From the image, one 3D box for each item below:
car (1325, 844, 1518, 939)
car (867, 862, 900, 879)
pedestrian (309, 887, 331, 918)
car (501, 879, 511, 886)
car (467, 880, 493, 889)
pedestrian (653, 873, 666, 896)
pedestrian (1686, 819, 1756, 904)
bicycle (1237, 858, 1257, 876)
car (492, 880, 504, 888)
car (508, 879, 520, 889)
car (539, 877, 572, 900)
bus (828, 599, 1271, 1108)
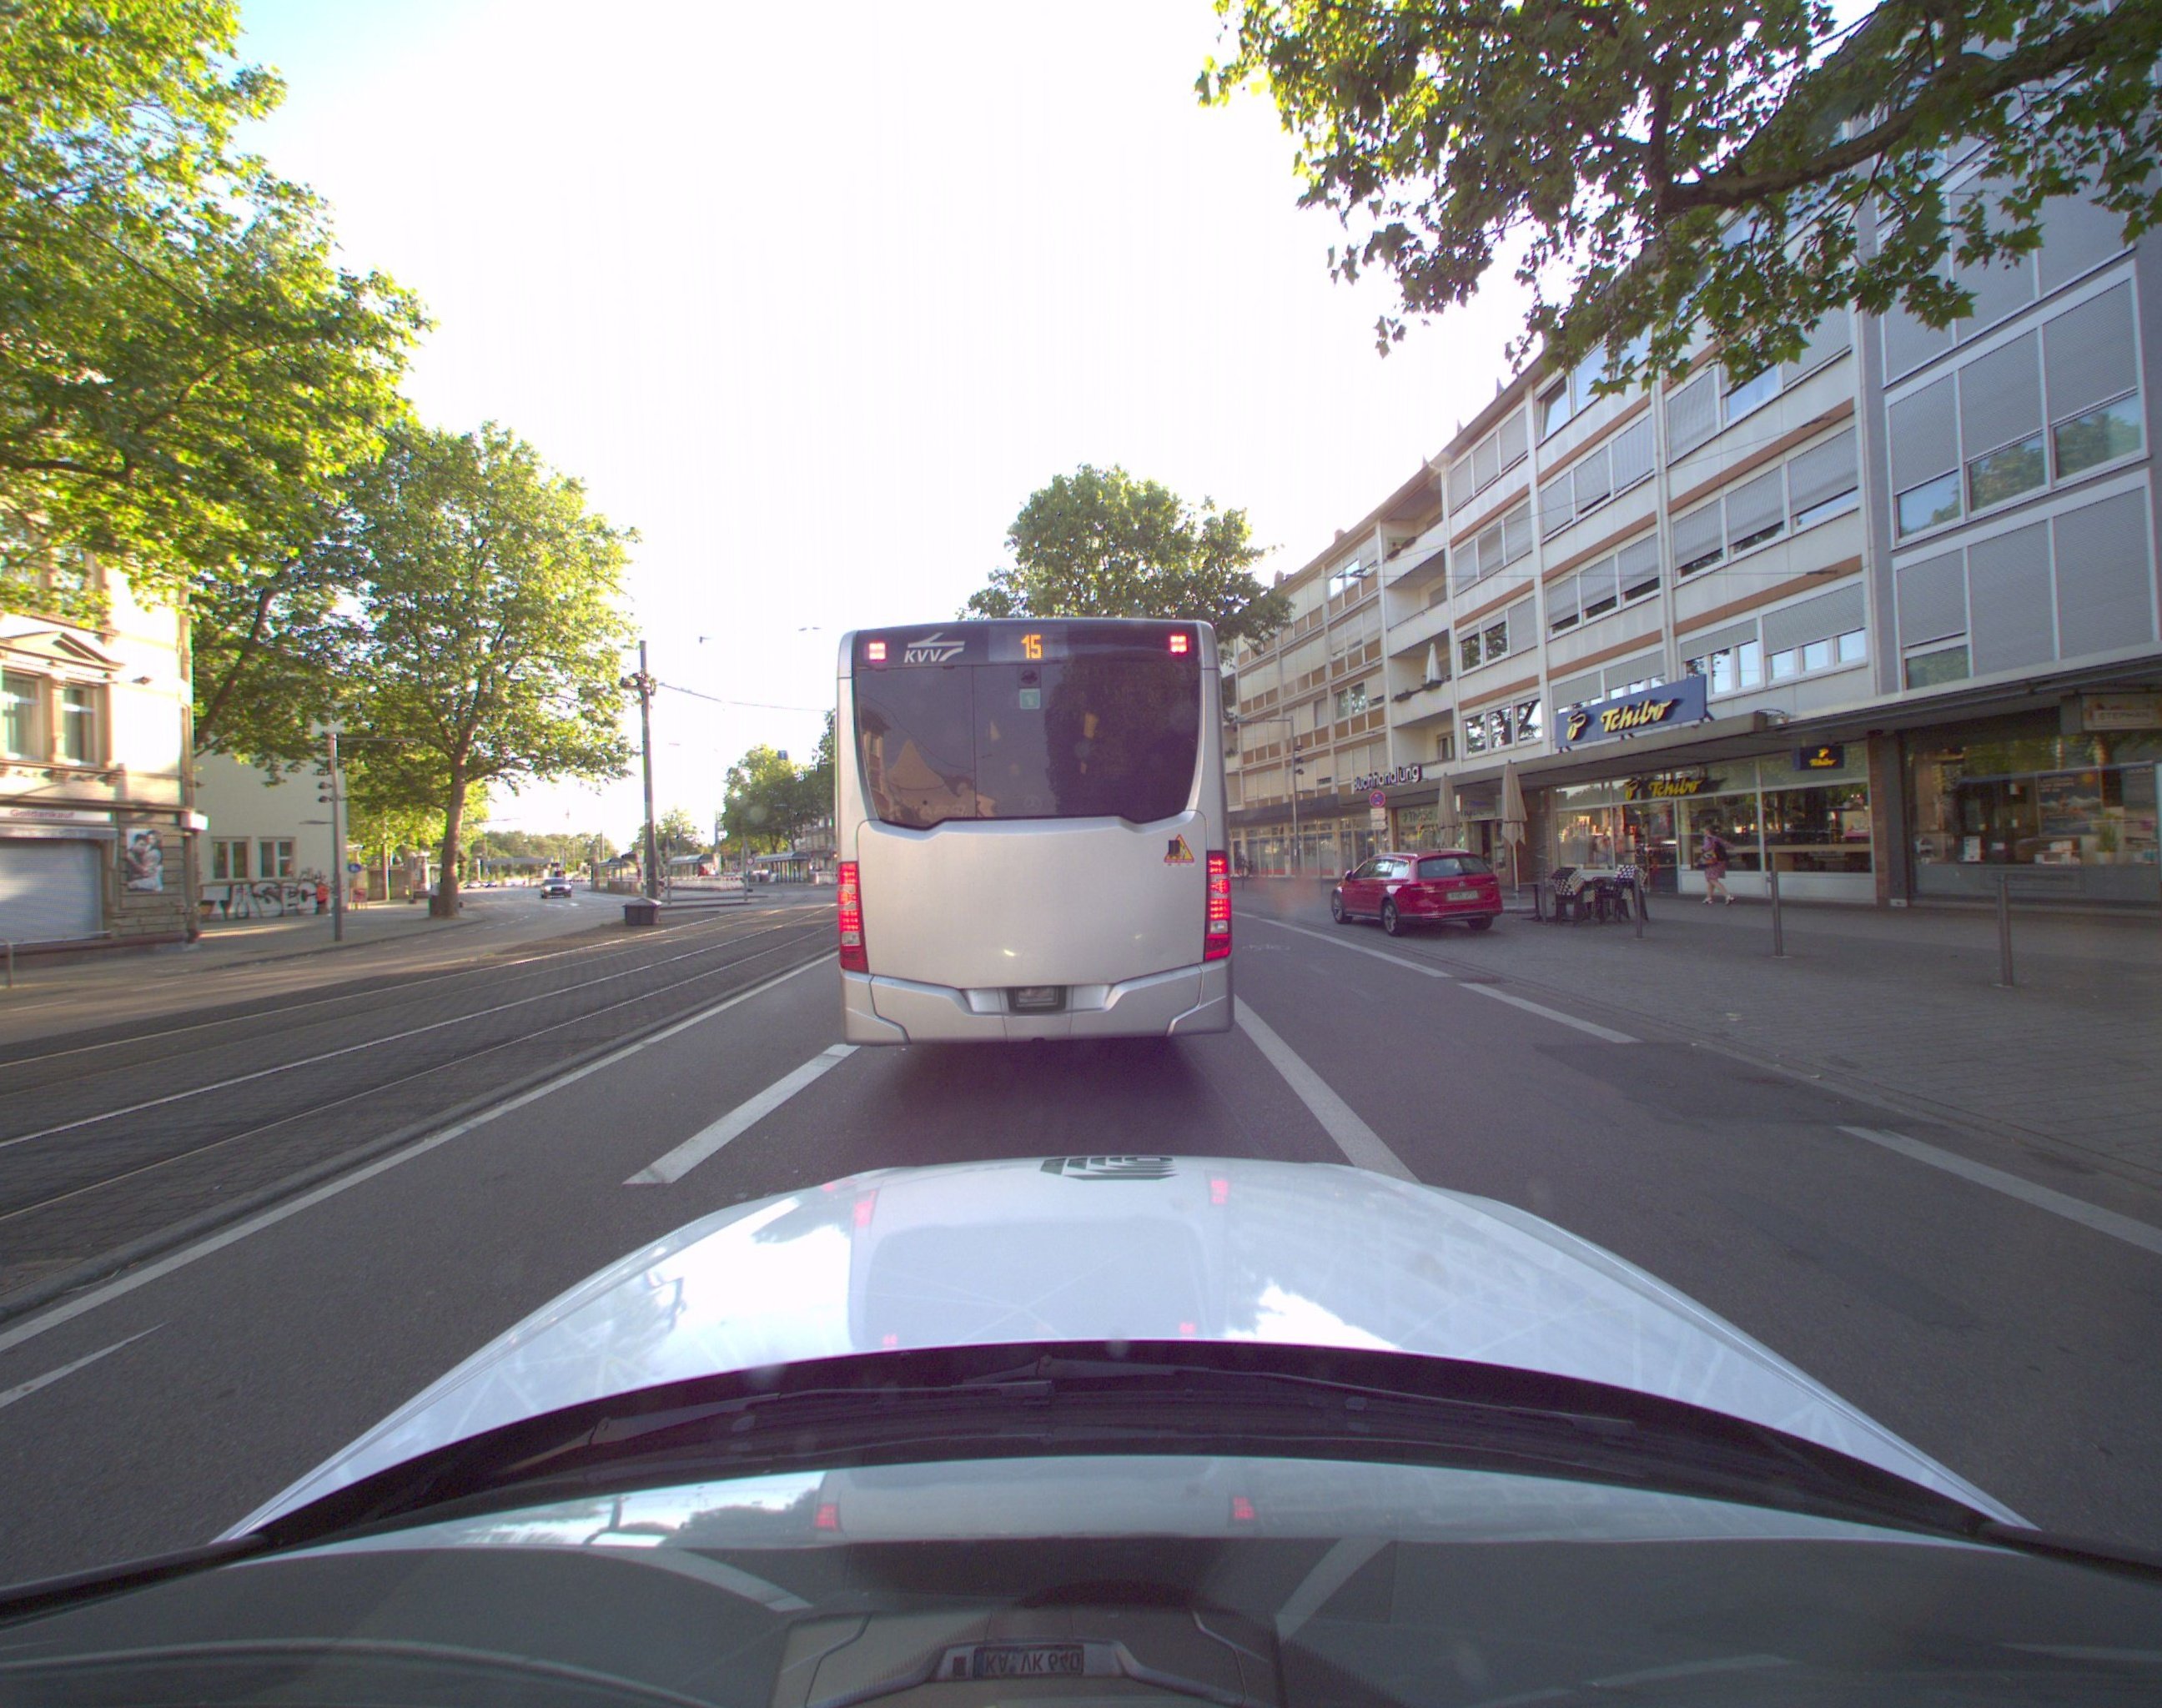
[{"bbox_3d":[6.364,0.642,15.823,1.765,1.482,4.300,-3,0,-2],"label":"car"},{"bbox_3d":[-21.549,1.754,88.657,2.010,1.792,3.954,0,-1,-39],"label":"car"},{"bbox_3d":[-38.123,2.412,40.803,0.487,1.513,0.614,-3,0,25],"label":"pedestrian"},{"bbox_3d":[-130.077,6.455,184.201,1.858,1.684,3.676,-2,-1,-35],"label":"car"},{"bbox_3d":[-122.654,6.307,166.145,1.768,1.640,4.024,-3,-1,44],"label":"car"},{"bbox_3d":[-30.002,2.172,57.931,0.661,1.656,0.438,-2,-1,-41],"label":"pedestrian"},{"bbox_3d":[12.700,0.144,16.173,0.649,1.592,0.788,-4,-1,-4],"label":"pedestrian"},{"bbox_3d":[9.284,0.721,45.595,0.413,0.945,1.431,-2,-1,-18],"label":"bicycle"},{"bbox_3d":[-117.815,6.071,164.681,1.858,1.684,3.676,-2,-1,-35],"label":"car"},{"bbox_3d":[-111.434,5.883,160.020,1.858,1.684,3.677,-4,1,-35],"label":"car"},{"bbox_3d":[-40.054,2.607,62.068,2.008,1.640,3.958,-2,-1,-33],"label":"car"},{"bbox_3d":[-0.174,0.019,9.912,2.622,3.028,9.995,-1,0,0],"label":"bus"}]
